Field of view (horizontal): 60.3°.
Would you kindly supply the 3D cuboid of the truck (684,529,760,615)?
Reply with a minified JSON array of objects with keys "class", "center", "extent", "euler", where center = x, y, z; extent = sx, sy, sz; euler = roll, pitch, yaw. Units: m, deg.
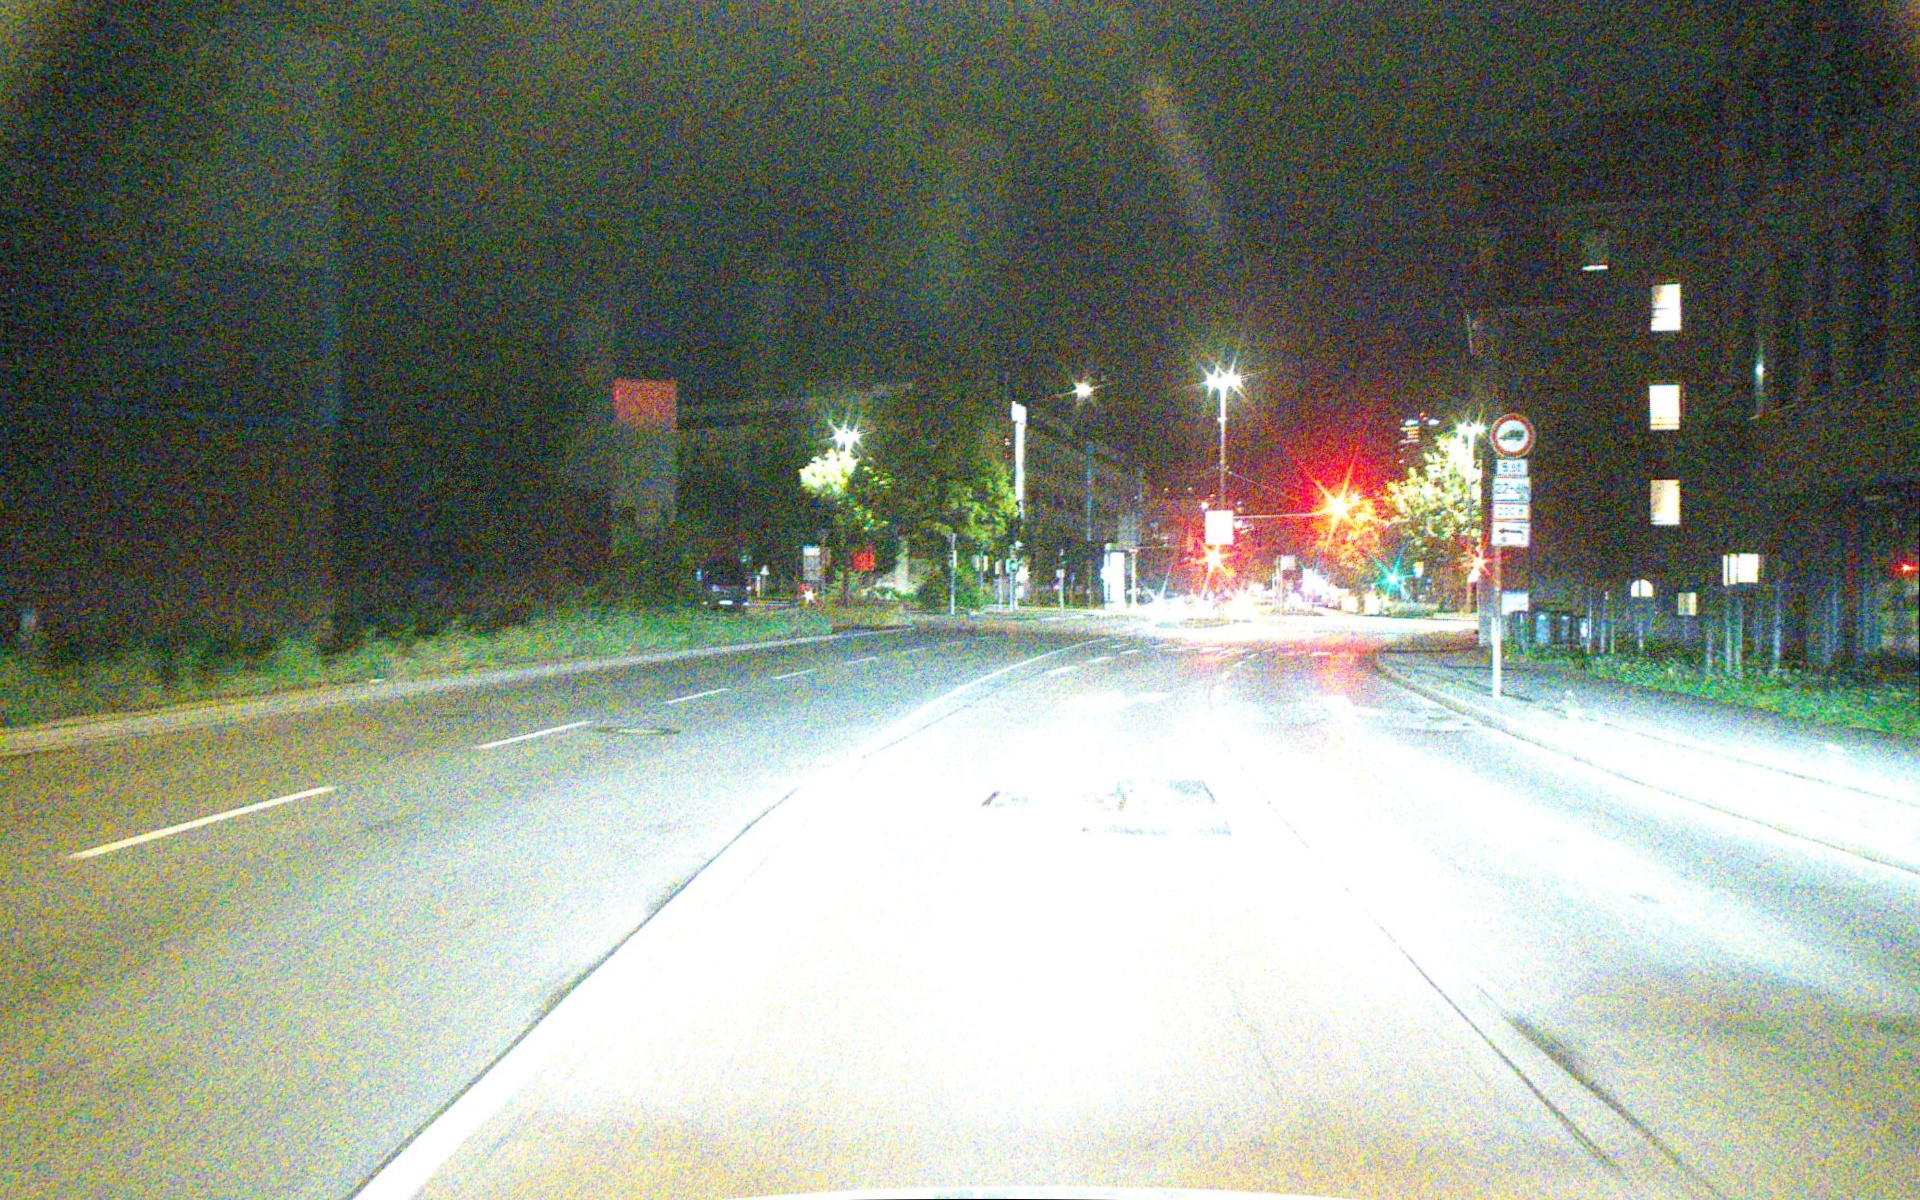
[{"class":"truck","center":[-11.674,-1.274,80.337],"extent":[2.887,3.863,9.526],"euler":[1,0,-13]}]

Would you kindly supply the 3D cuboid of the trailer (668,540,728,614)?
[{"class":"trailer","center":[-14.417,-1.204,90.601],"extent":[2.570,3.857,6.489],"euler":[1,0,-15]}]

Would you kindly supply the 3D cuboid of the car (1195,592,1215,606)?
[{"class":"car","center":[24.815,-0.128,167.459],"extent":[1.720,1.345,3.550],"euler":[1,0,13]}]

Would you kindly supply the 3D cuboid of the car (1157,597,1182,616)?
[{"class":"car","center":[17.011,0.533,134.441],"extent":[1.581,1.541,4.003],"euler":[1,0,13]}]

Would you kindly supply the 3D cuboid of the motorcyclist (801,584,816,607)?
[{"class":"motorcyclist","center":[-8.558,-0.264,93.564],"extent":[0.639,1.283,0.573],"euler":[1,0,-29]}]
